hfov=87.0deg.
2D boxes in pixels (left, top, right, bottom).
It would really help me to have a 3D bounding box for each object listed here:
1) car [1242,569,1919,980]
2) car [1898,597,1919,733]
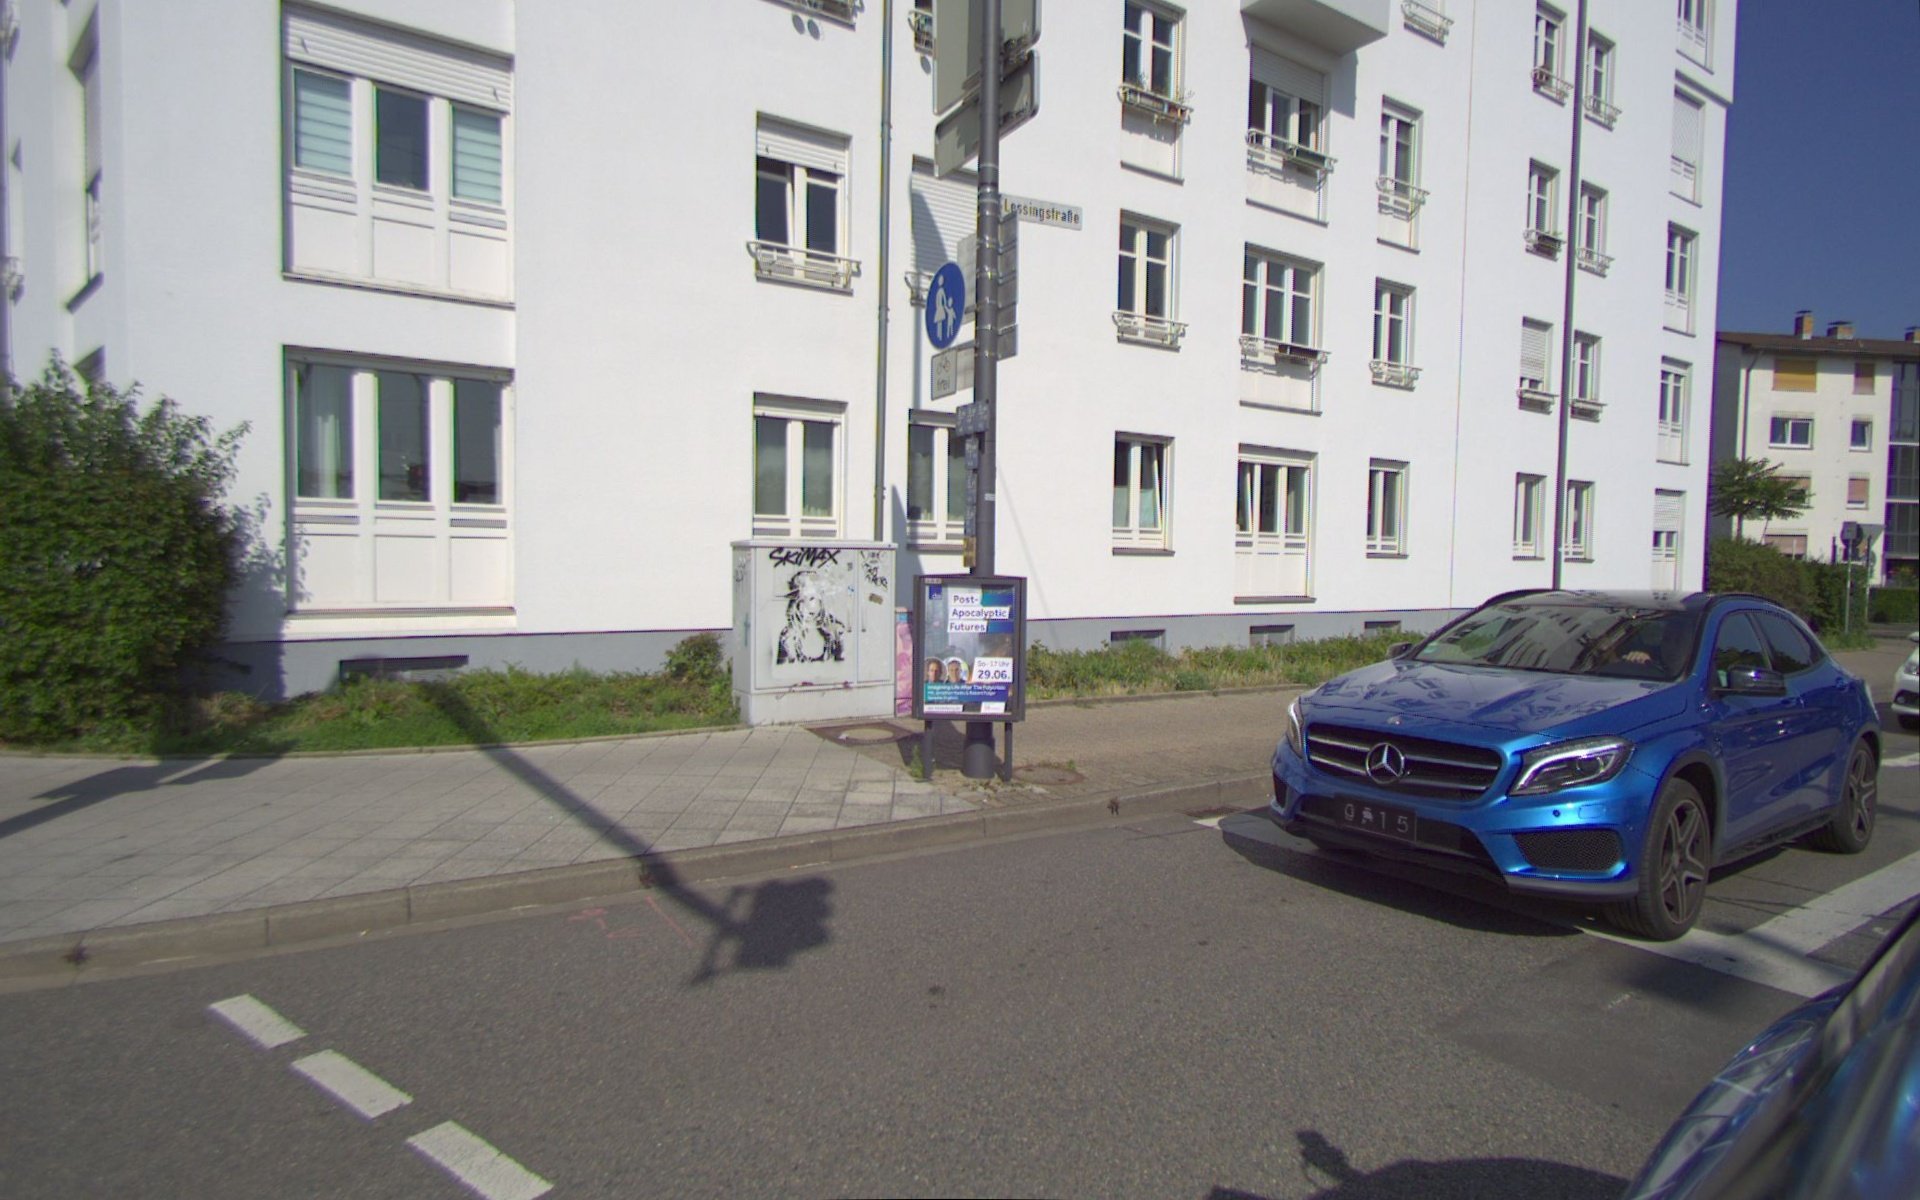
[{"bbox_3d":[3.714,0.625,5.685,4.464,1.499,1.676,0,1,-36],"label":"car"},{"bbox_3d":[12.351,0.694,11.362,4.400,1.429,1.703,0,2,-34],"label":"car"}]
